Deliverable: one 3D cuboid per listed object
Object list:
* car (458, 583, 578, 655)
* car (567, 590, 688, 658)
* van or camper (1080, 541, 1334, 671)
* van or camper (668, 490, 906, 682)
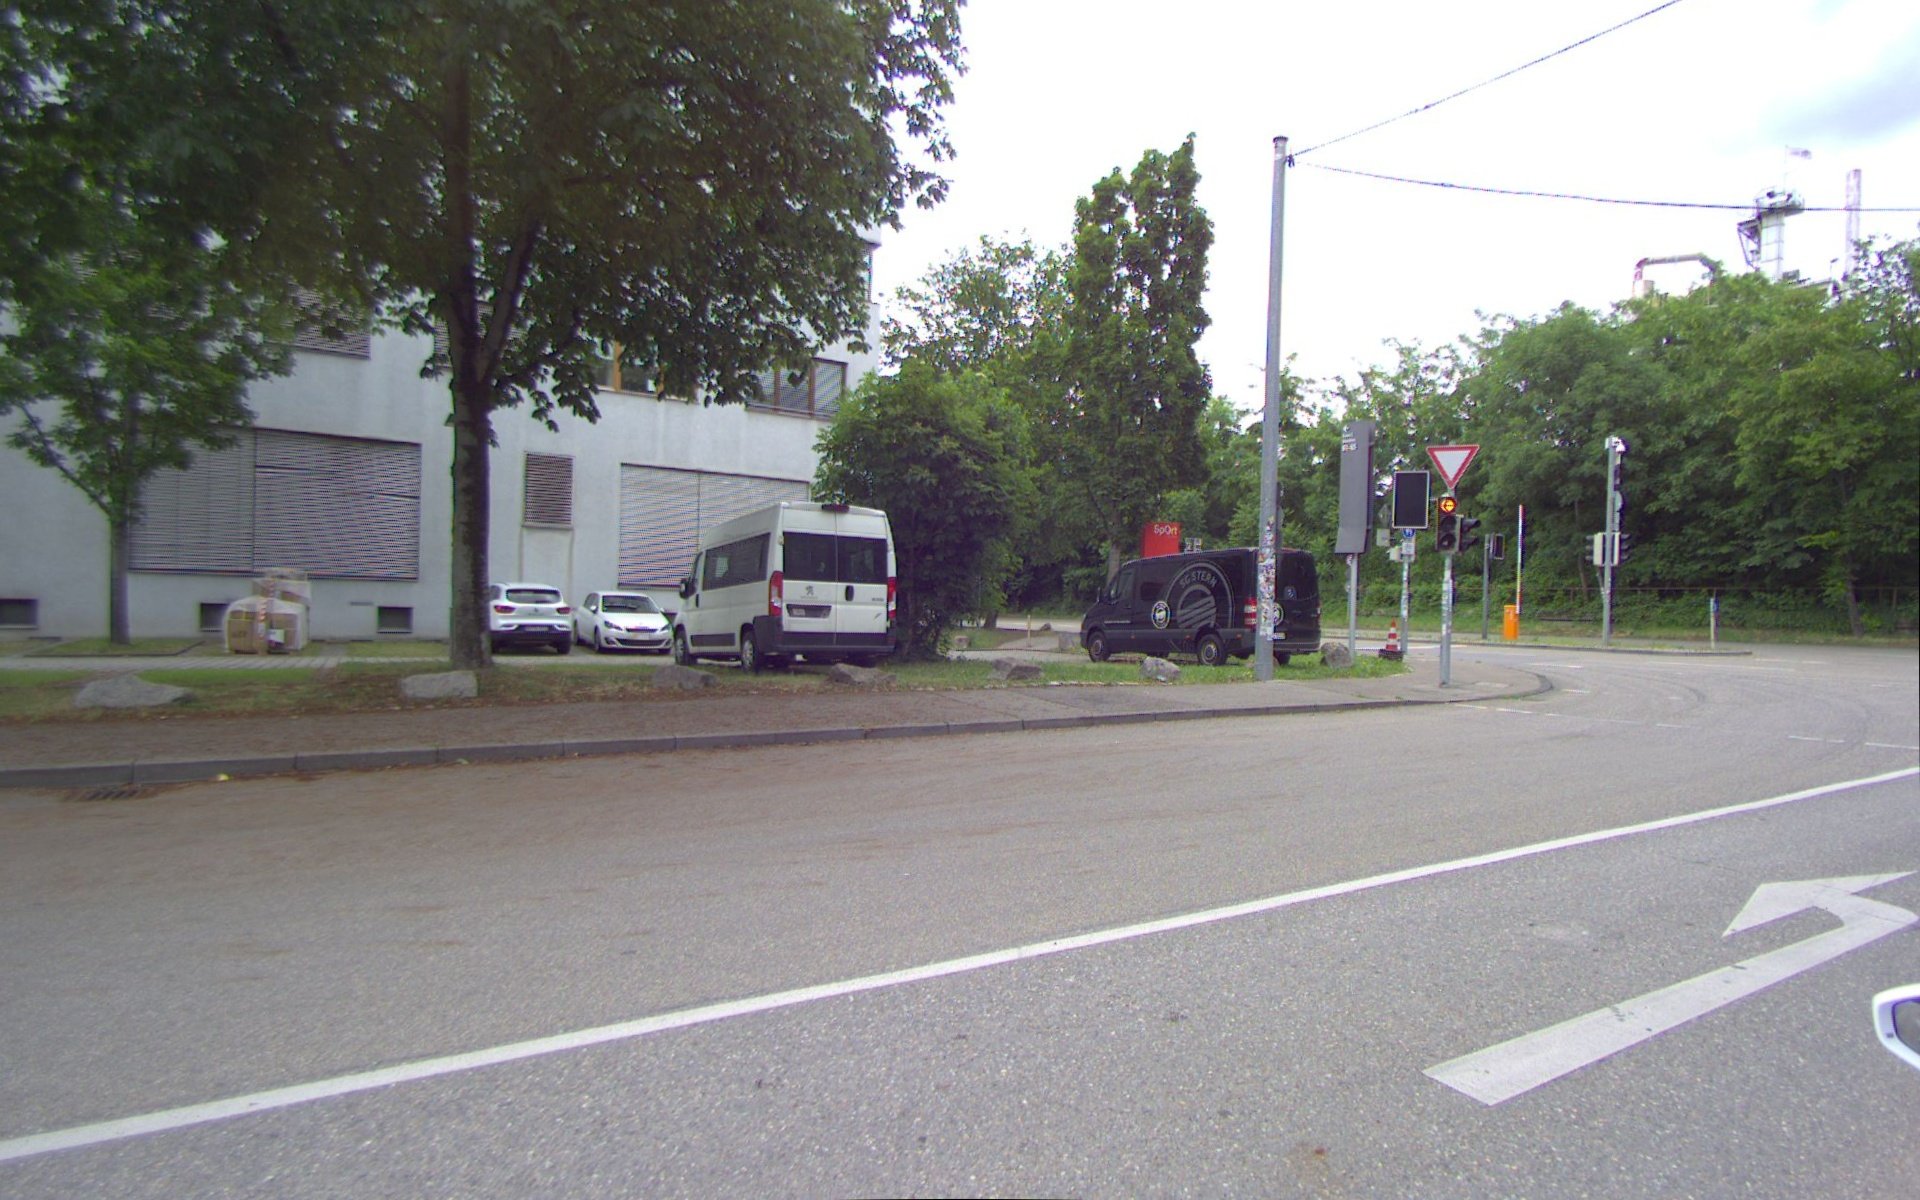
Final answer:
[{"bbox_3d":[-10.608,0.412,23.960,1.881,1.475,3.972,3,0,-34],"label":"car"},{"bbox_3d":[-8.533,0.573,25.562,1.881,1.475,3.972,3,0,-34],"label":"car"},{"bbox_3d":[4.976,0.211,21.234,2.036,2.343,5.513,3,-3,-28],"label":"van or camper"},{"bbox_3d":[-3.013,-0.207,16.390,2.039,2.604,4.943,3,0,-32],"label":"van or camper"}]
